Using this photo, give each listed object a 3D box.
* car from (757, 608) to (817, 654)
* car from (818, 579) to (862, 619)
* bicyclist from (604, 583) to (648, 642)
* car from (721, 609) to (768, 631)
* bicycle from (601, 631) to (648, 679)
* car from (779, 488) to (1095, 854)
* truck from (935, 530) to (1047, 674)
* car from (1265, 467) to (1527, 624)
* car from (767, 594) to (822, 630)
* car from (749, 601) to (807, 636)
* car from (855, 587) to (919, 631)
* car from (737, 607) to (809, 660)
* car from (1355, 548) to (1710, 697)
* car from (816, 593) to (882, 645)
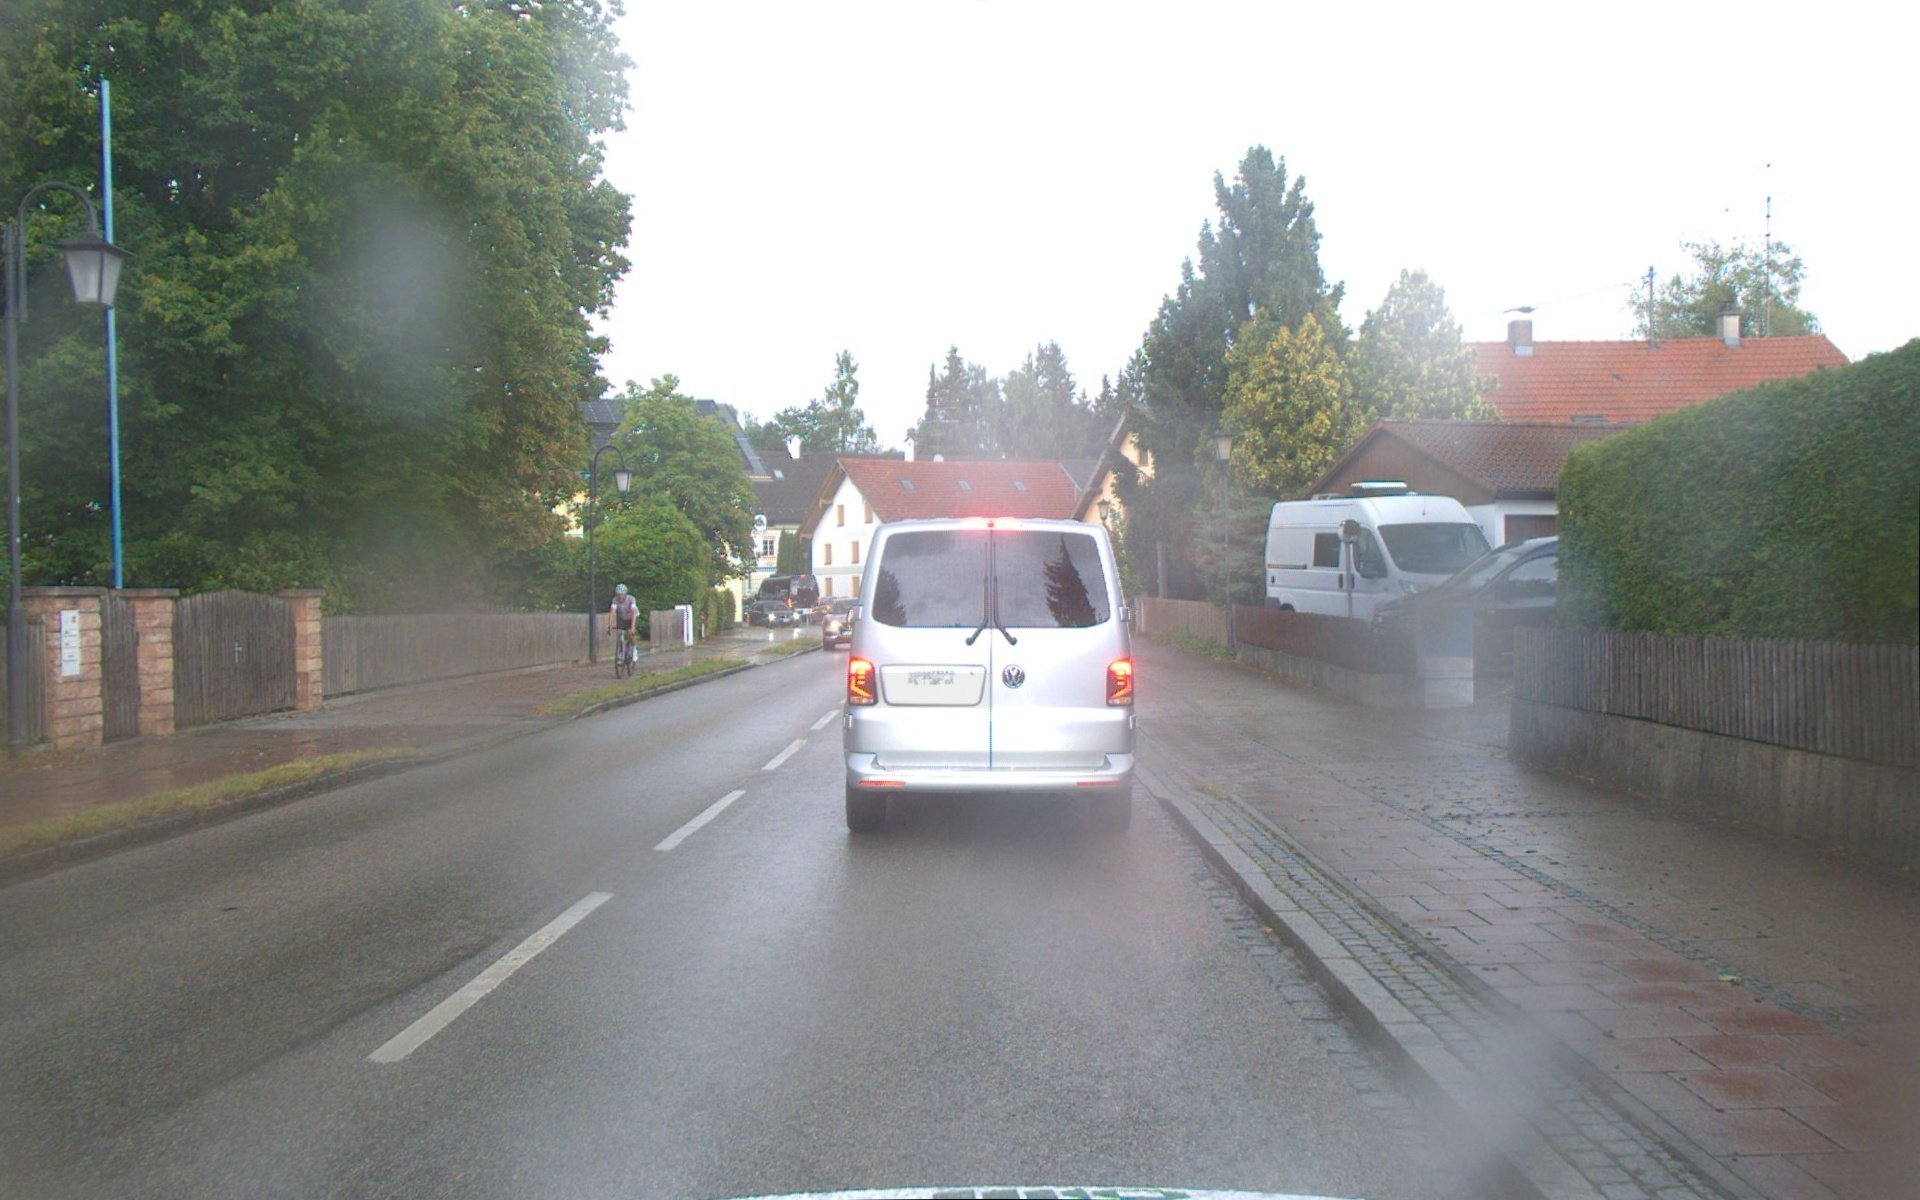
[{"bbox_3d":[-5.812,1.031,55.782,1.584,1.470,3.670,1,-1,0],"label":"car"},{"bbox_3d":[-6.515,-0.033,89.347,1.957,2.049,3.991,1,-1,-10],"label":"car"},{"bbox_3d":[-6.060,0.220,30.028,0.575,1.039,1.060,0,0,0],"label":"bicyclist"},{"bbox_3d":[-13.715,1.285,105.130,1.759,1.333,3.742,2,-1,-27],"label":"car"},{"bbox_3d":[-6.062,0.984,29.971,0.447,0.812,1.977,0,0,0],"label":"bicycle"},{"bbox_3d":[-0.045,0.428,11.450,1.763,2.049,4.001,1,-1,2],"label":"car"},{"bbox_3d":[0.670,0.076,39.724,2.425,3.128,6.295,1,-1,0],"label":"truck"},{"bbox_3d":[6.806,-0.769,26.465,1.959,2.211,4.936,2,-1,-13],"label":"car"},{"bbox_3d":[-9.568,0.689,95.428,1.969,1.961,3.967,2,-1,-25],"label":"car"},{"bbox_3d":[-9.569,0.951,86.935,1.966,1.733,3.972,2,-1,-23],"label":"car"},{"bbox_3d":[-3.612,0.437,81.379,1.965,2.049,3.975,2,-1,-21],"label":"car"},{"bbox_3d":[-5.415,0.953,48.251,1.584,1.470,3.671,1,-1,2],"label":"car"},{"bbox_3d":[7.335,0.245,21.406,4.012,1.782,1.693,-1,2,-4],"label":"car"},{"bbox_3d":[-3.509,0.615,52.832,1.790,1.586,4.177,-1,-1,0],"label":"car"}]
